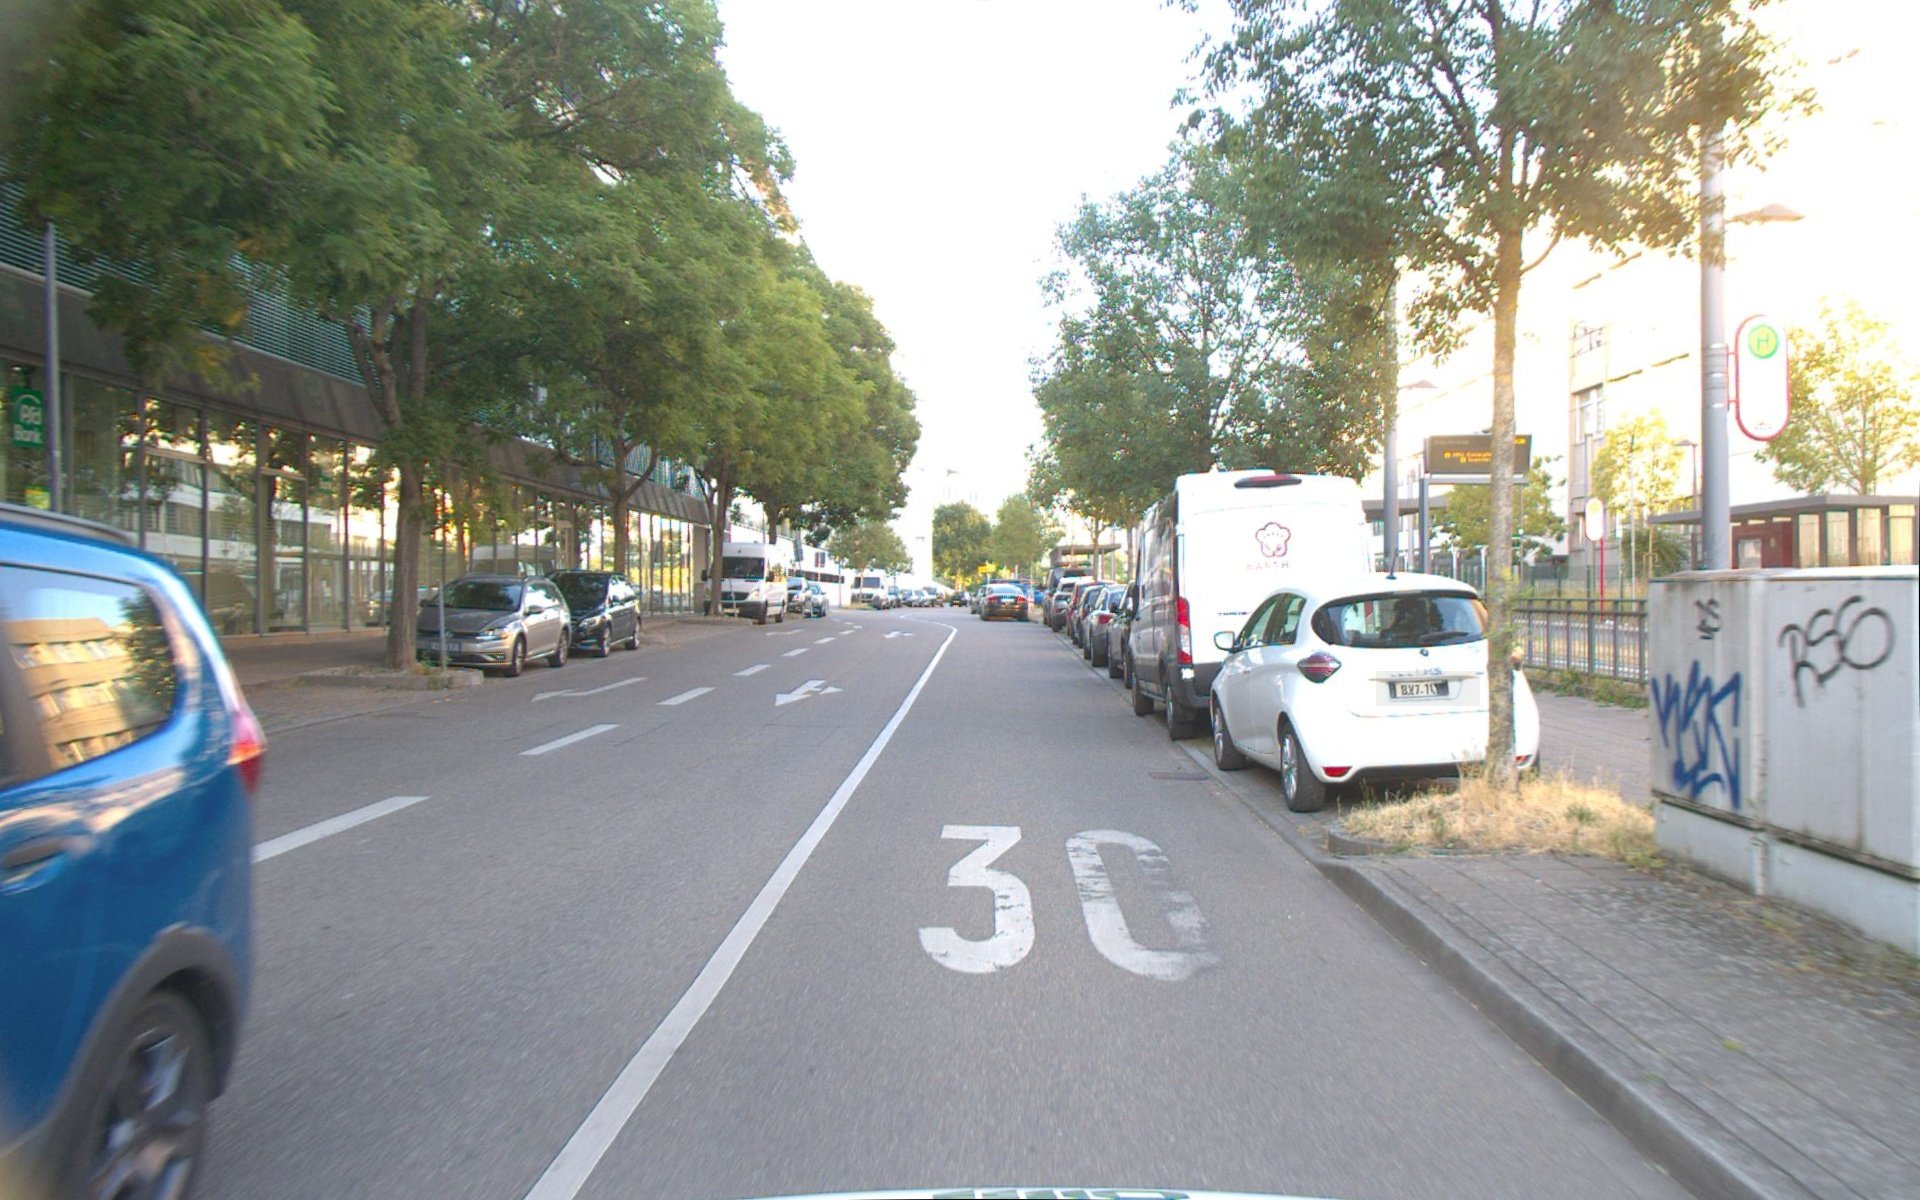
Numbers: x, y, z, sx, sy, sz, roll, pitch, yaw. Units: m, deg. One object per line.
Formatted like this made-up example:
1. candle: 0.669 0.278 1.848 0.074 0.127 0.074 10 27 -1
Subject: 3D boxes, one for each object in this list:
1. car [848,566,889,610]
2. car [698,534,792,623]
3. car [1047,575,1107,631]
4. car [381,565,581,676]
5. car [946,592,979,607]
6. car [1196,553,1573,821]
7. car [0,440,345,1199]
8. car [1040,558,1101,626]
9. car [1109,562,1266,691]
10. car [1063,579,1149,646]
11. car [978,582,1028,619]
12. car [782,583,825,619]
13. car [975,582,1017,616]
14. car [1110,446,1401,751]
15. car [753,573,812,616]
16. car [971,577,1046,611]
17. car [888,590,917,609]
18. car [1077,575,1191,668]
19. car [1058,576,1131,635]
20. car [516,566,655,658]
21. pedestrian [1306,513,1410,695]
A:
1. car: -5.908 -0.772 106.981 1.917 2.662 6.895 2 1 2
2. car: -6.930 -0.686 54.157 2.057 2.710 6.952 0 0 1
3. car: 3.589 0.072 51.355 1.672 1.608 4.480 -2 0 2
4. car: -7.329 0.268 25.790 1.668 1.487 4.627 3 1 1
5. car: 0.217 -0.063 157.484 1.903 1.407 4.401 2 1 17
6. car: 3.000 0.542 12.573 1.712 1.611 4.012 -3 0 -1
7. car: -2.490 0.581 2.117 1.711 1.707 4.274 1 0 1
8. car: 3.813 -0.279 57.697 1.767 2.214 4.736 -2 0 0
9. car: 3.248 0.347 24.333 1.672 1.672 4.267 -2 0 0
10. car: 3.462 0.278 39.861 1.672 1.477 4.000 -2 0 0
11. car: 1.714 0.010 67.571 1.751 1.477 4.513 0 0 -2
12. car: -6.650 0.019 70.554 1.681 1.477 4.396 0 0 -3
13. car: 1.558 -0.039 73.389 1.642 1.477 4.186 0 0 -2
14. car: 2.985 -0.037 18.037 2.009 2.703 5.433 -3 0 -1
15. car: -6.955 -0.228 65.069 1.806 1.599 4.268 0 0 1
16. car: 3.079 -0.389 105.545 4.546 2.071 1.850 1 1 -33
17. car: -4.740 -0.083 136.596 1.686 1.483 4.275 2 1 7
18. car: 3.214 0.346 31.357 1.759 1.522 4.782 -3 0 2
19. car: 3.707 0.130 46.086 1.672 1.519 4.131 -2 0 0
20. car: -7.169 0.192 32.047 1.557 1.596 4.472 3 1 1
21. pedestrian: 4.632 0.036 19.244 0.972 2.049 0.795 0 0 -44
